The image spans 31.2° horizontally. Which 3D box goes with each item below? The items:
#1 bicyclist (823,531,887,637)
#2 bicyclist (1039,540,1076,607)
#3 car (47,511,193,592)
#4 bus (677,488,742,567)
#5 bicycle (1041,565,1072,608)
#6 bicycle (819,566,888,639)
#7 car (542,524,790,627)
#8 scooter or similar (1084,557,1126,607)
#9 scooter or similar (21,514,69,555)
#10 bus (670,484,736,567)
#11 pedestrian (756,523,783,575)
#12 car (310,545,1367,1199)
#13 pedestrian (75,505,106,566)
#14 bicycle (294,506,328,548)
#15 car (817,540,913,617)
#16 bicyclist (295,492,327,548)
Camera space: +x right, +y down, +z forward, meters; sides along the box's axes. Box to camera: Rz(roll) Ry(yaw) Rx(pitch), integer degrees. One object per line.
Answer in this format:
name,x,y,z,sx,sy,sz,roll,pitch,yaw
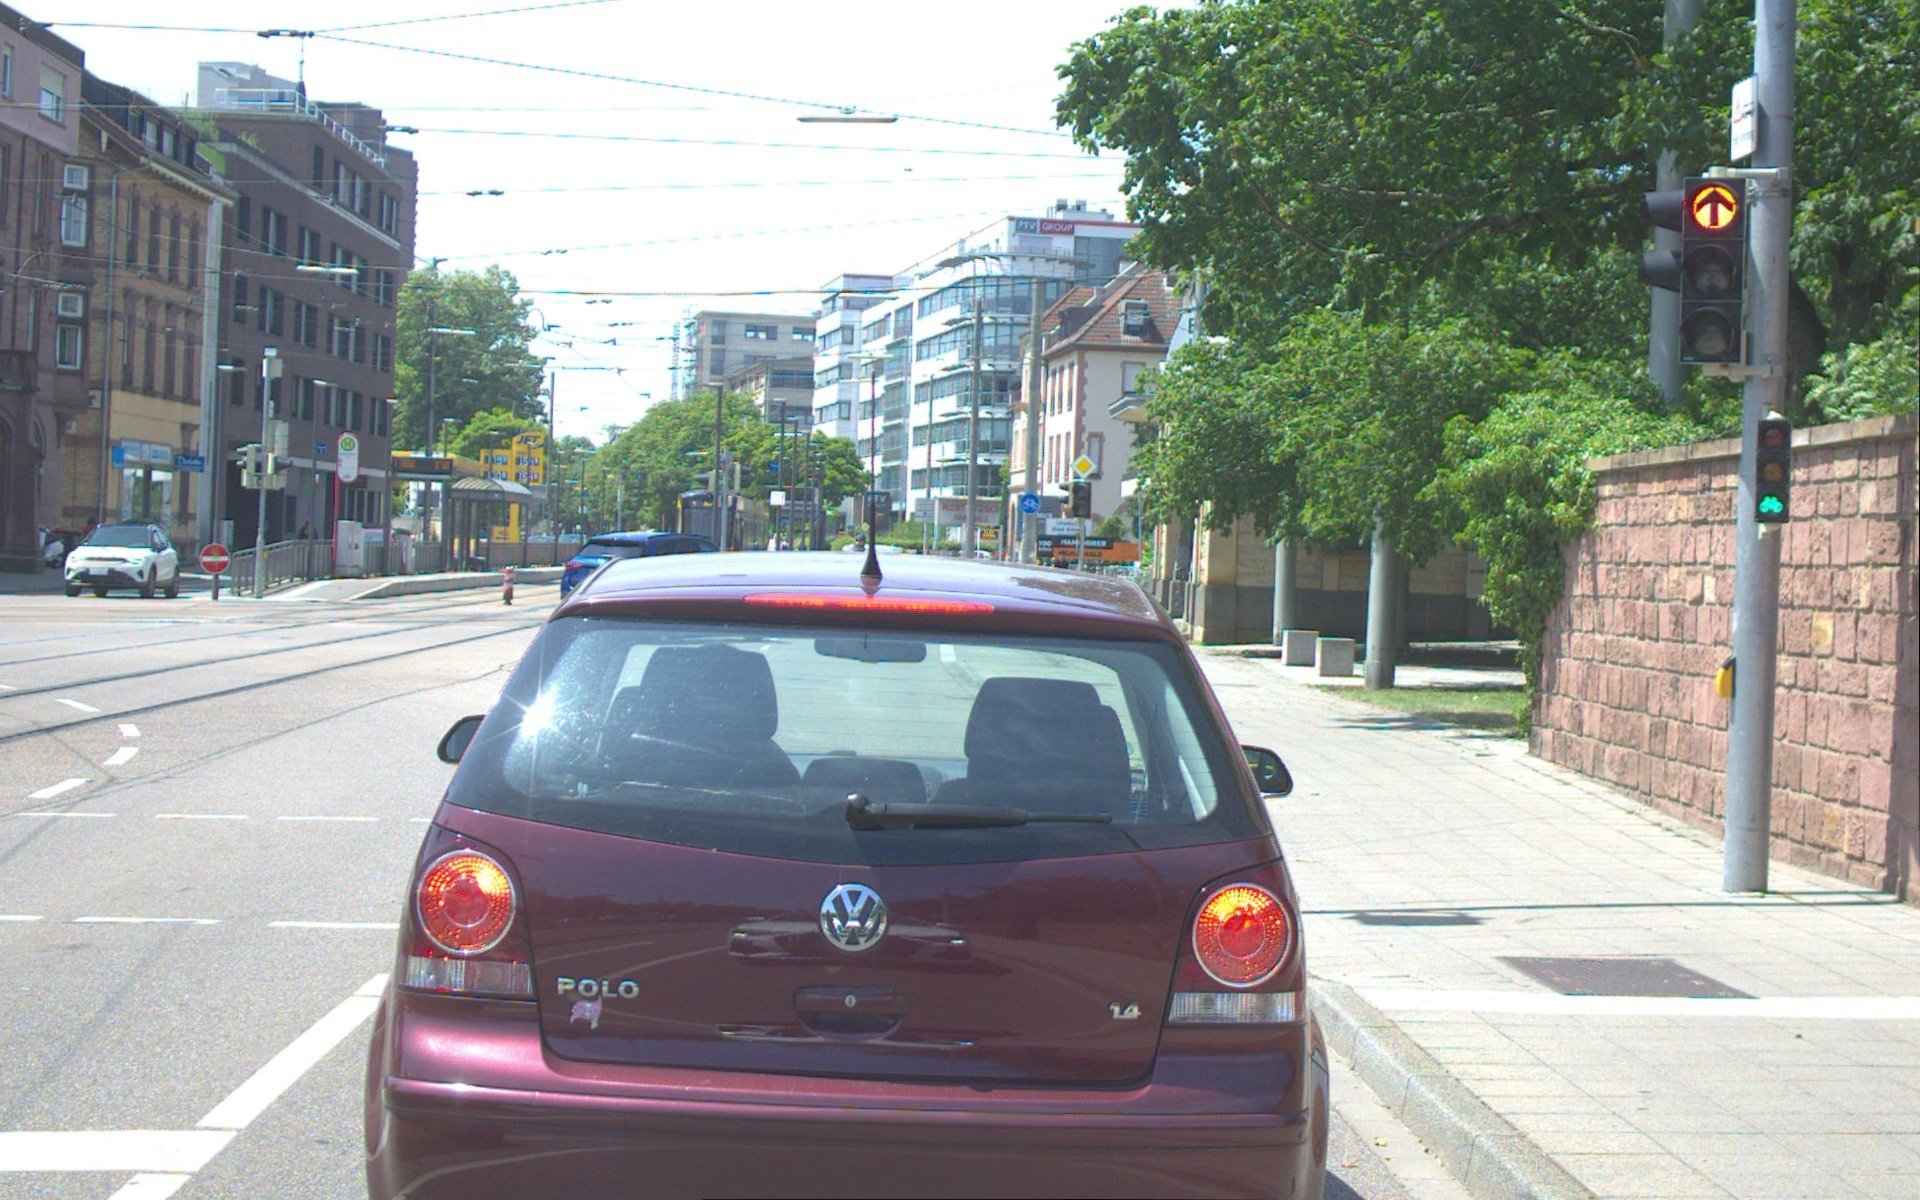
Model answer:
bicyclist,-1.780,-0.280,58.286,0.728,1.754,0.923,2,1,22
bicyclist,2.385,-0.661,84.406,0.832,1.612,0.860,-2,1,-1
car,-17.319,-1.008,71.074,1.993,1.547,4.139,2,1,-1
bus,-10.008,-2.896,137.680,2.233,2.993,6.594,2,1,-2
bicycle,2.361,-0.338,84.362,0.668,0.999,1.864,-2,1,-1
bicycle,-1.788,0.030,58.099,0.376,1.193,1.903,2,1,22
car,-4.937,-0.400,58.463,1.997,1.619,4.624,3,1,27
scooter or similar,3.553,-0.447,84.343,0.339,1.174,1.468,2,1,-25
scooter or similar,-24.427,-1.737,91.777,0.488,1.078,1.576,2,1,16
bus,-9.780,-2.821,131.110,2.144,2.993,6.574,2,1,-2
pedestrian,-6.202,-1.664,111.952,0.763,1.669,1.100,2,1,0
car,-0.235,0.648,6.726,1.561,1.448,3.062,2,1,-2
pedestrian,-22.538,-1.676,89.139,0.614,1.555,0.640,2,1,-1
bicycle,-20.717,-2.344,109.726,0.677,1.300,2.105,3,2,-1
car,-2.008,-0.479,73.344,1.823,1.525,4.000,2,1,1
bicyclist,-20.710,-2.553,109.735,0.732,1.756,1.135,3,1,-1
